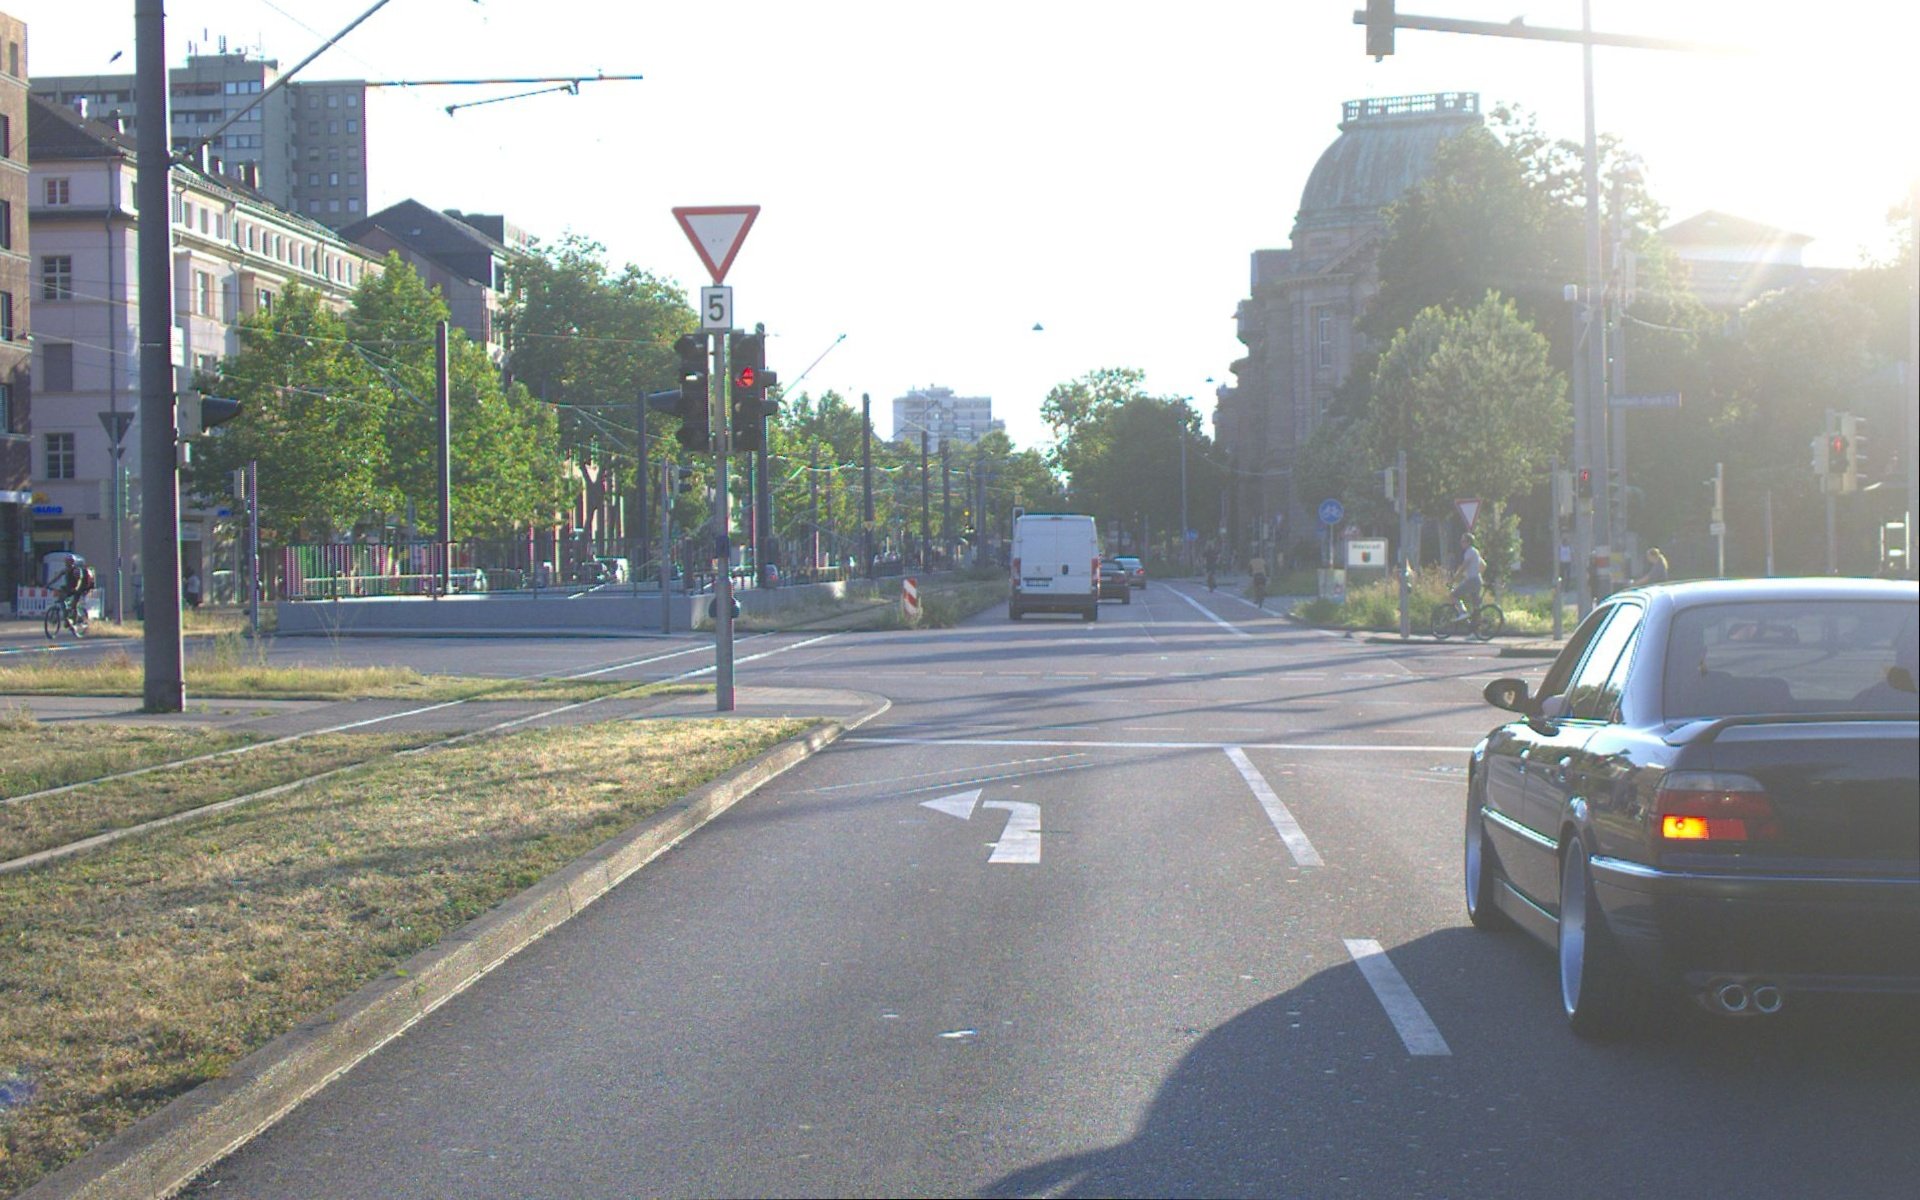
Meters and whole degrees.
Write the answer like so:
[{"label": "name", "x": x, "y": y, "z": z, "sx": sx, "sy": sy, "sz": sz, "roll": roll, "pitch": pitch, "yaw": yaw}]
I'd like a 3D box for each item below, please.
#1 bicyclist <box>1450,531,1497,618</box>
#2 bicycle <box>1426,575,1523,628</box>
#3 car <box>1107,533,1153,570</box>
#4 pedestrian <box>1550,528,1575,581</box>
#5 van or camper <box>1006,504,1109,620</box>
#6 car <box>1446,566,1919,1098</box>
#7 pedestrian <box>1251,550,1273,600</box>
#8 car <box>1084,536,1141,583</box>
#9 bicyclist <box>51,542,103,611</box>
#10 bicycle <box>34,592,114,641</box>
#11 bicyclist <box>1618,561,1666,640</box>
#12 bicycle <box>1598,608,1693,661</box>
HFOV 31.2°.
[{"label": "bicyclist", "x": 9.426, "y": -0.466, "z": 63.152, "sx": 0.798, "sy": 1.566, "sz": 0.663, "roll": -1, "pitch": 2, "yaw": 6}, {"label": "bicycle", "x": 9.453, "y": 0.025, "z": 63.160, "sx": 1.729, "sy": 0.966, "sz": 0.609, "roll": 0, "pitch": 2, "yaw": 6}, {"label": "car", "x": 7.767, "y": -2.217, "z": 157.218, "sx": 1.794, "sy": 1.560, "sz": 4.001, "roll": -1, "pitch": 2, "yaw": -1}, {"label": "pedestrian", "x": 18.491, "y": -1.396, "z": 105.512, "sx": 0.682, "sy": 1.605, "sz": 0.612, "roll": -1, "pitch": 2, "yaw": 3}, {"label": "van or camper", "x": 2.360, "y": -0.949, "z": 82.118, "sx": 2.263, "sy": 2.616, "sz": 4.503, "roll": -1, "pitch": 2, "yaw": 4}, {"label": "car", "x": 2.785, "y": 0.604, "z": 11.543, "sx": 1.830, "sy": 1.349, "sz": 4.641, "roll": 0, "pitch": 2, "yaw": 3}, {"label": "pedestrian", "x": 9.100, "y": -0.752, "z": 103.569, "sx": 0.616, "sy": 1.470, "sz": 0.800, "roll": -1, "pitch": 2, "yaw": 7}, {"label": "car", "x": 4.878, "y": -1.293, "z": 109.604, "sx": 1.737, "sy": 1.381, "sz": 4.000, "roll": -1, "pitch": 2, "yaw": 3}, {"label": "bicyclist", "x": -18.771, "y": -0.508, "z": 73.112, "sx": 0.662, "sy": 1.437, "sz": 0.855, "roll": 2, "pitch": 2, "yaw": 24}, {"label": "bicycle", "x": -18.844, "y": 0.345, "z": 73.172, "sx": 0.702, "sy": 0.966, "sz": 1.732, "roll": 3, "pitch": 2, "yaw": 24}, {"label": "bicyclist", "x": 12.838, "y": 0.007, "z": 64.719, "sx": 0.854, "sy": 1.437, "sz": 0.663, "roll": -1, "pitch": 2, "yaw": 13}, {"label": "bicycle", "x": 12.910, "y": 0.645, "z": 64.733, "sx": 1.719, "sy": 0.966, "sz": 0.609, "roll": 0, "pitch": 2, "yaw": 13}]
